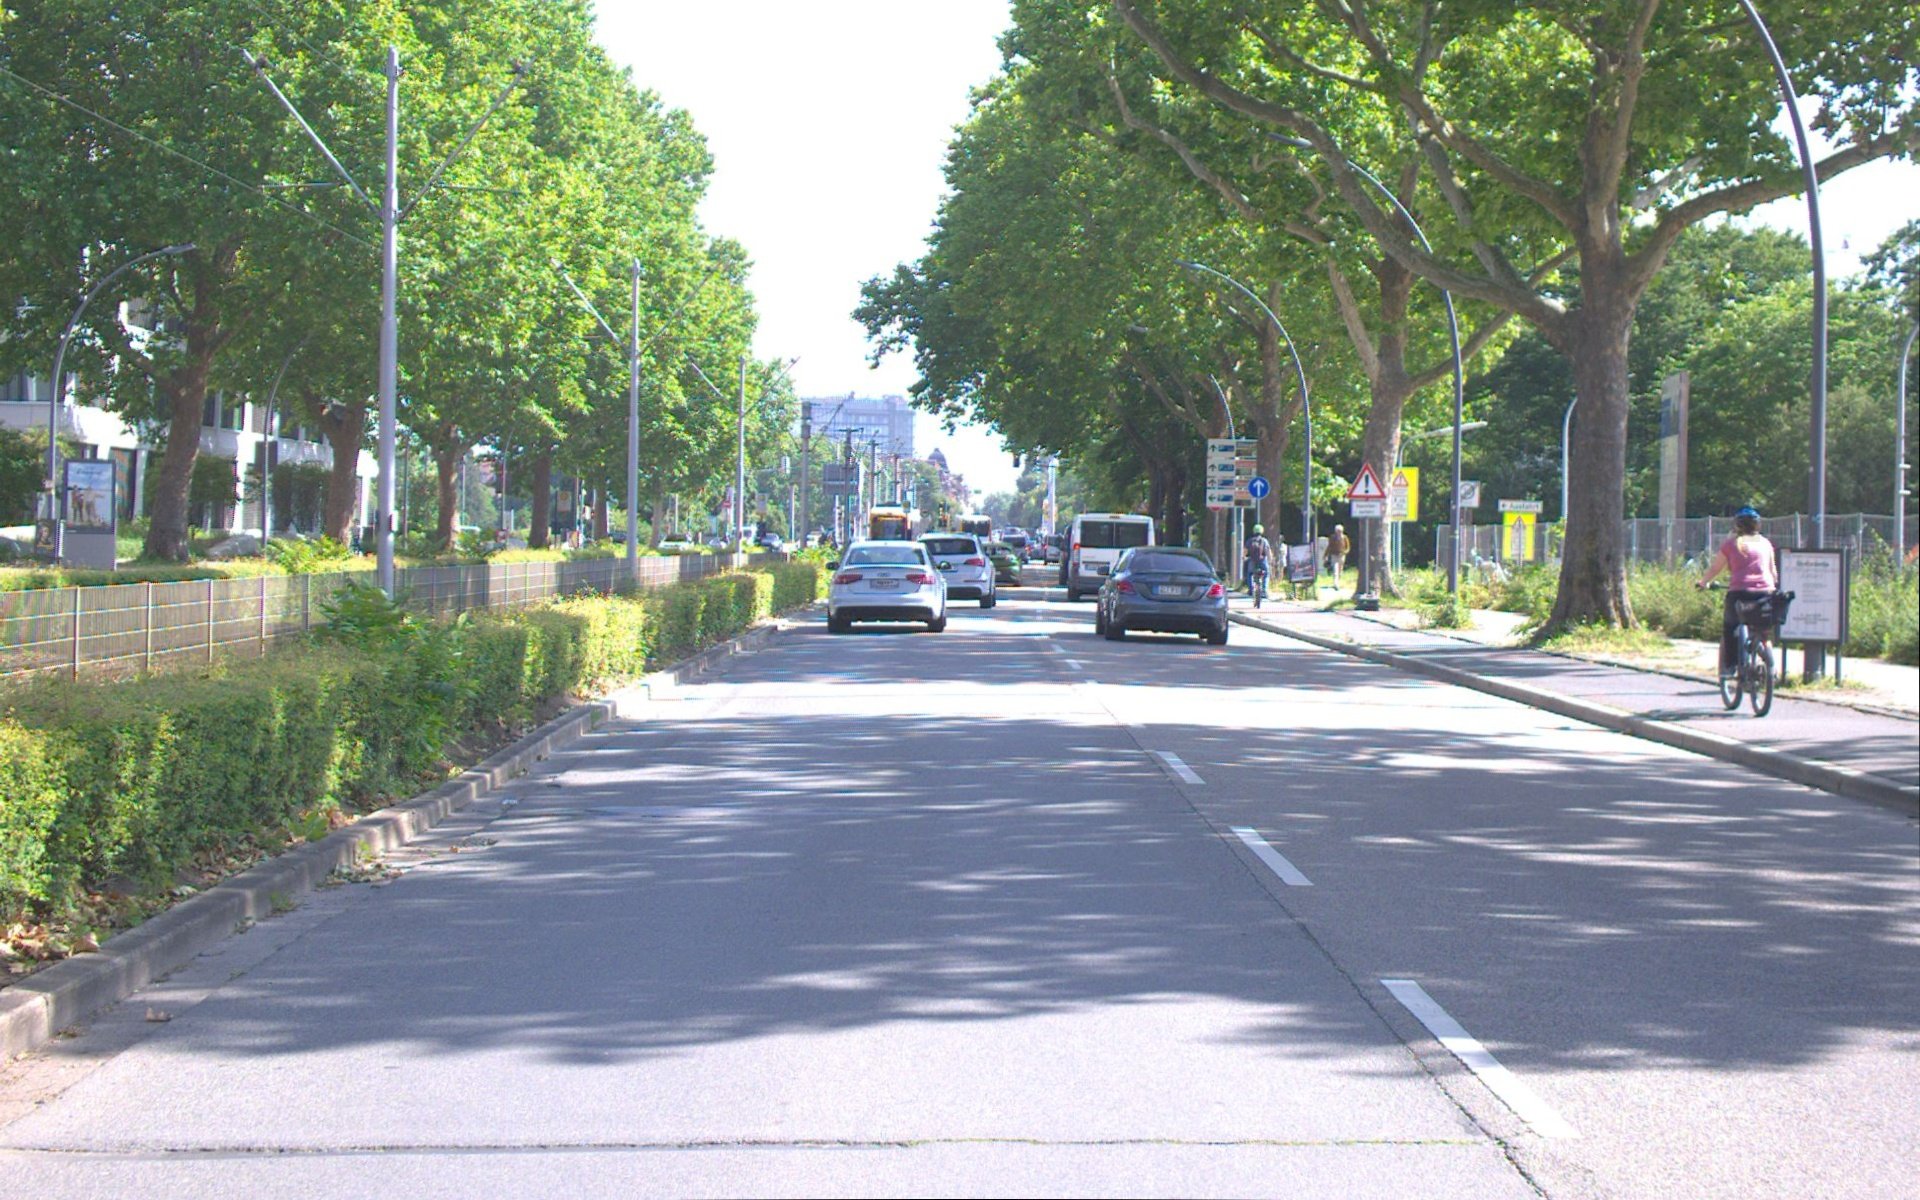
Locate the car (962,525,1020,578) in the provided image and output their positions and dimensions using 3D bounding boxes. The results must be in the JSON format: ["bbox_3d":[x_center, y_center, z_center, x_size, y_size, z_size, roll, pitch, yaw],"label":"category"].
[{"bbox_3d":[1.010,-1.534,109.274,1.729,1.599,3.885,2,1,2],"label":"car"}]

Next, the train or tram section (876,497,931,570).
[{"bbox_3d":[-3.159,-3.743,193.908,2.617,4.001,7.749,2,1,2],"label":"train or tram section"}]

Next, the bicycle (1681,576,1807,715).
[{"bbox_3d":[6.693,0.370,29.438,0.651,1.125,1.945,0,1,1],"label":"bicycle"}]

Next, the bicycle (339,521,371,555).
[{"bbox_3d":[-20.690,-2.124,117.578,0.664,1.120,2.031,2,1,2],"label":"bicycle"}]

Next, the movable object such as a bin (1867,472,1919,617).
[{"bbox_3d":[21.389,-1.152,73.088,2.369,3.061,5.986,2,1,-2],"label":"movable object such as a bin"}]

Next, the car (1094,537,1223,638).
[{"bbox_3d":[2.972,-0.214,52.158,1.782,1.415,4.000,2,1,2],"label":"car"}]

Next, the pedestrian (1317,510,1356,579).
[{"bbox_3d":[10.573,-1.561,96.547,0.939,1.886,1.151,1,1,2],"label":"pedestrian"}]

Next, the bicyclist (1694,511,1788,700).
[{"bbox_3d":[6.678,0.039,29.407,0.620,1.594,0.732,-1,1,0],"label":"bicyclist"}]

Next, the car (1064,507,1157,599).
[{"bbox_3d":[3.784,-1.186,86.981,2.230,2.204,4.162,2,1,2],"label":"car"}]

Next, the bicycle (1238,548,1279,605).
[{"bbox_3d":[6.578,-0.525,75.861,0.714,1.144,2.178,-1,3,1],"label":"bicycle"}]

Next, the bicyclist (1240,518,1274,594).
[{"bbox_3d":[6.547,-0.974,75.837,0.634,1.642,0.979,-1,2,1],"label":"bicyclist"}]

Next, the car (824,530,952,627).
[{"bbox_3d":[-1.095,-0.358,54.076,1.785,1.416,3.885,2,1,2],"label":"car"}]

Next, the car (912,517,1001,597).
[{"bbox_3d":[-0.046,-0.917,73.097,1.729,1.599,3.885,2,1,2],"label":"car"}]

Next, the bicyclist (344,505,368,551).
[{"bbox_3d":[-20.674,-2.459,117.614,0.654,1.529,0.641,2,1,2],"label":"bicyclist"}]

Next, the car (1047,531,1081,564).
[{"bbox_3d":[6.540,-3.316,217.197,2.072,1.992,4.058,2,1,2],"label":"car"}]
